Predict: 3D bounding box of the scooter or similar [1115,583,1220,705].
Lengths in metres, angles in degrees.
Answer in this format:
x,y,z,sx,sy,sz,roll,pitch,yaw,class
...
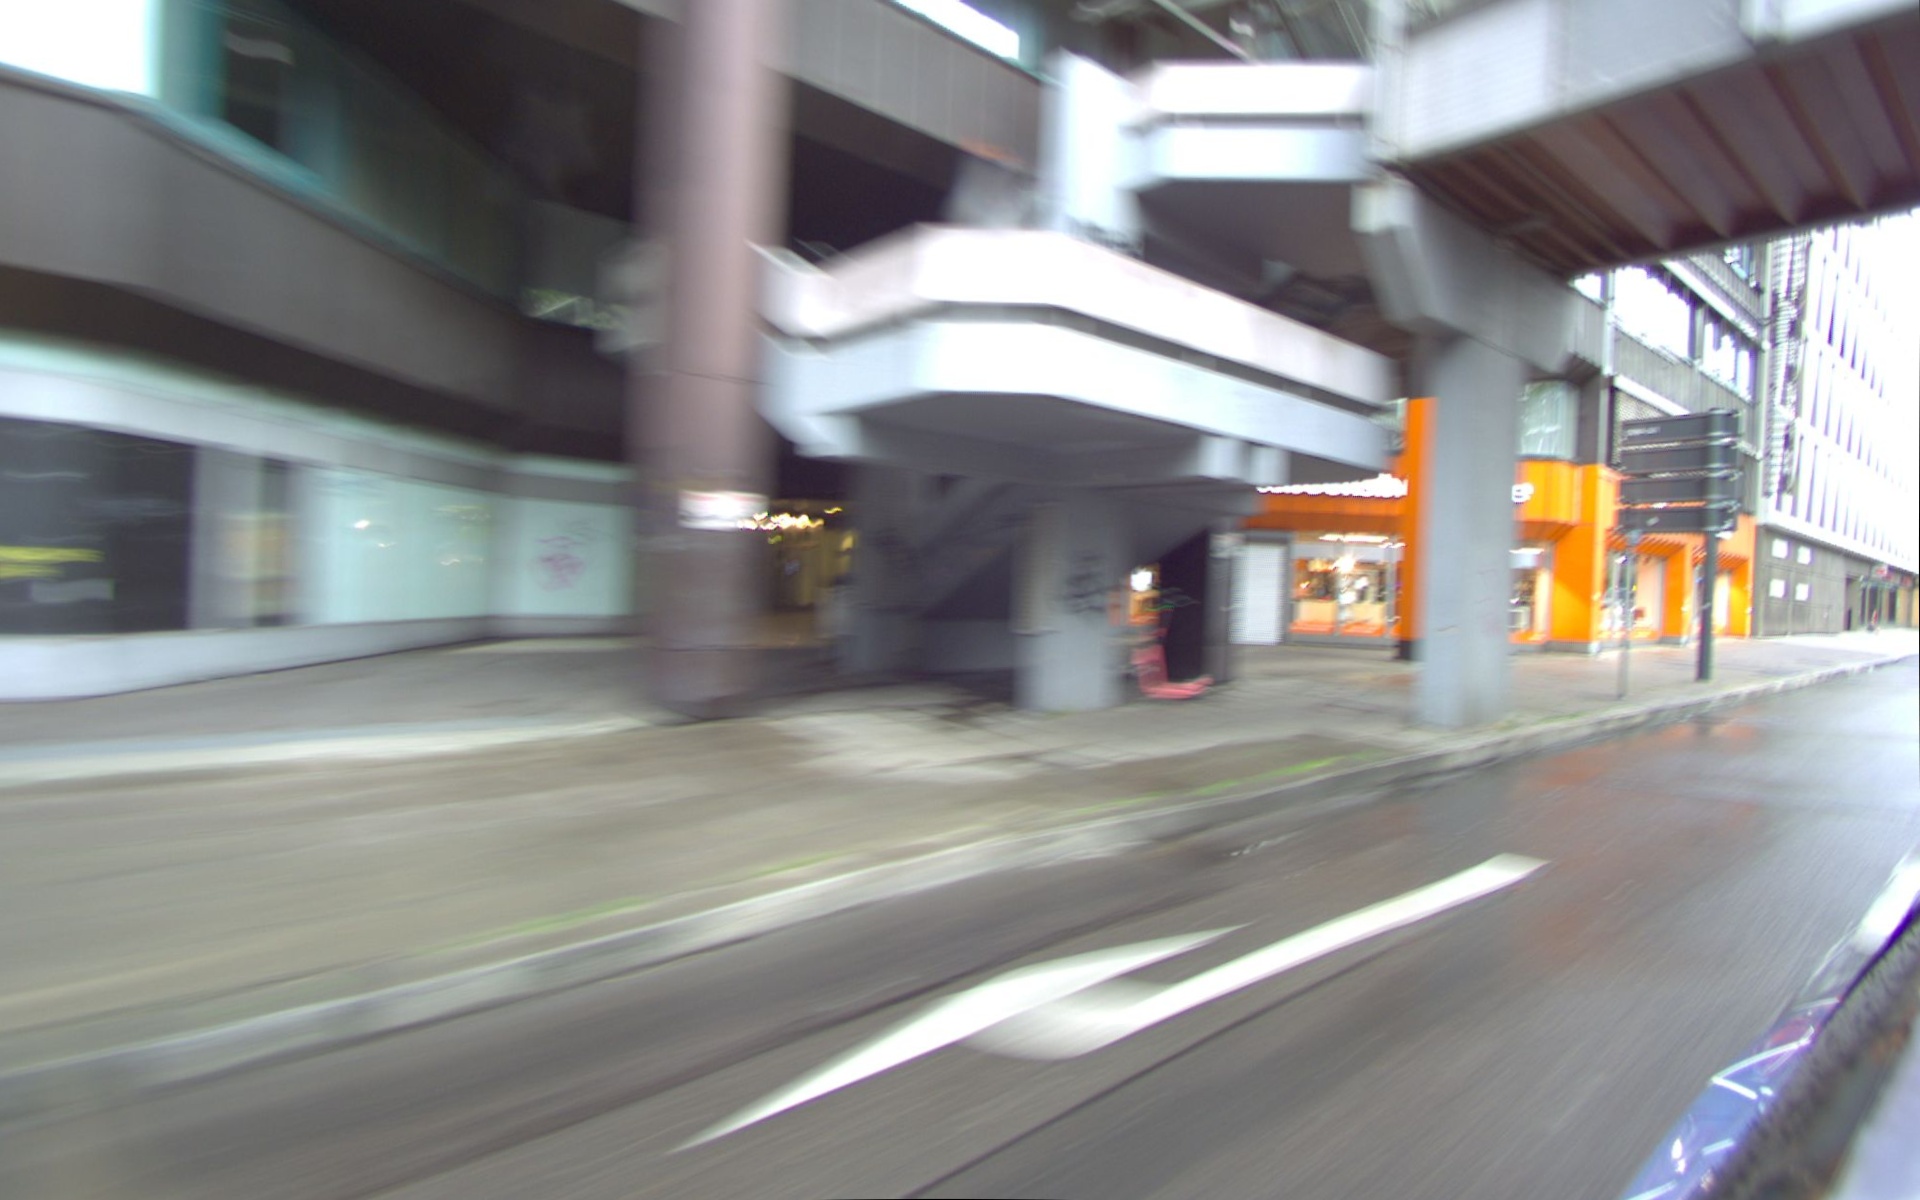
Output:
x,y,z,sx,sy,sz,roll,pitch,yaw,class
2.315,0.471,11.222,1.370,1.271,0.350,1,0,-41,scooter or similar

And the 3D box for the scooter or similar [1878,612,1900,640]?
x,y,z,sx,sy,sz,roll,pitch,yaw,class
43.764,1.228,47.671,1.165,1.252,0.413,1,0,-32,scooter or similar
